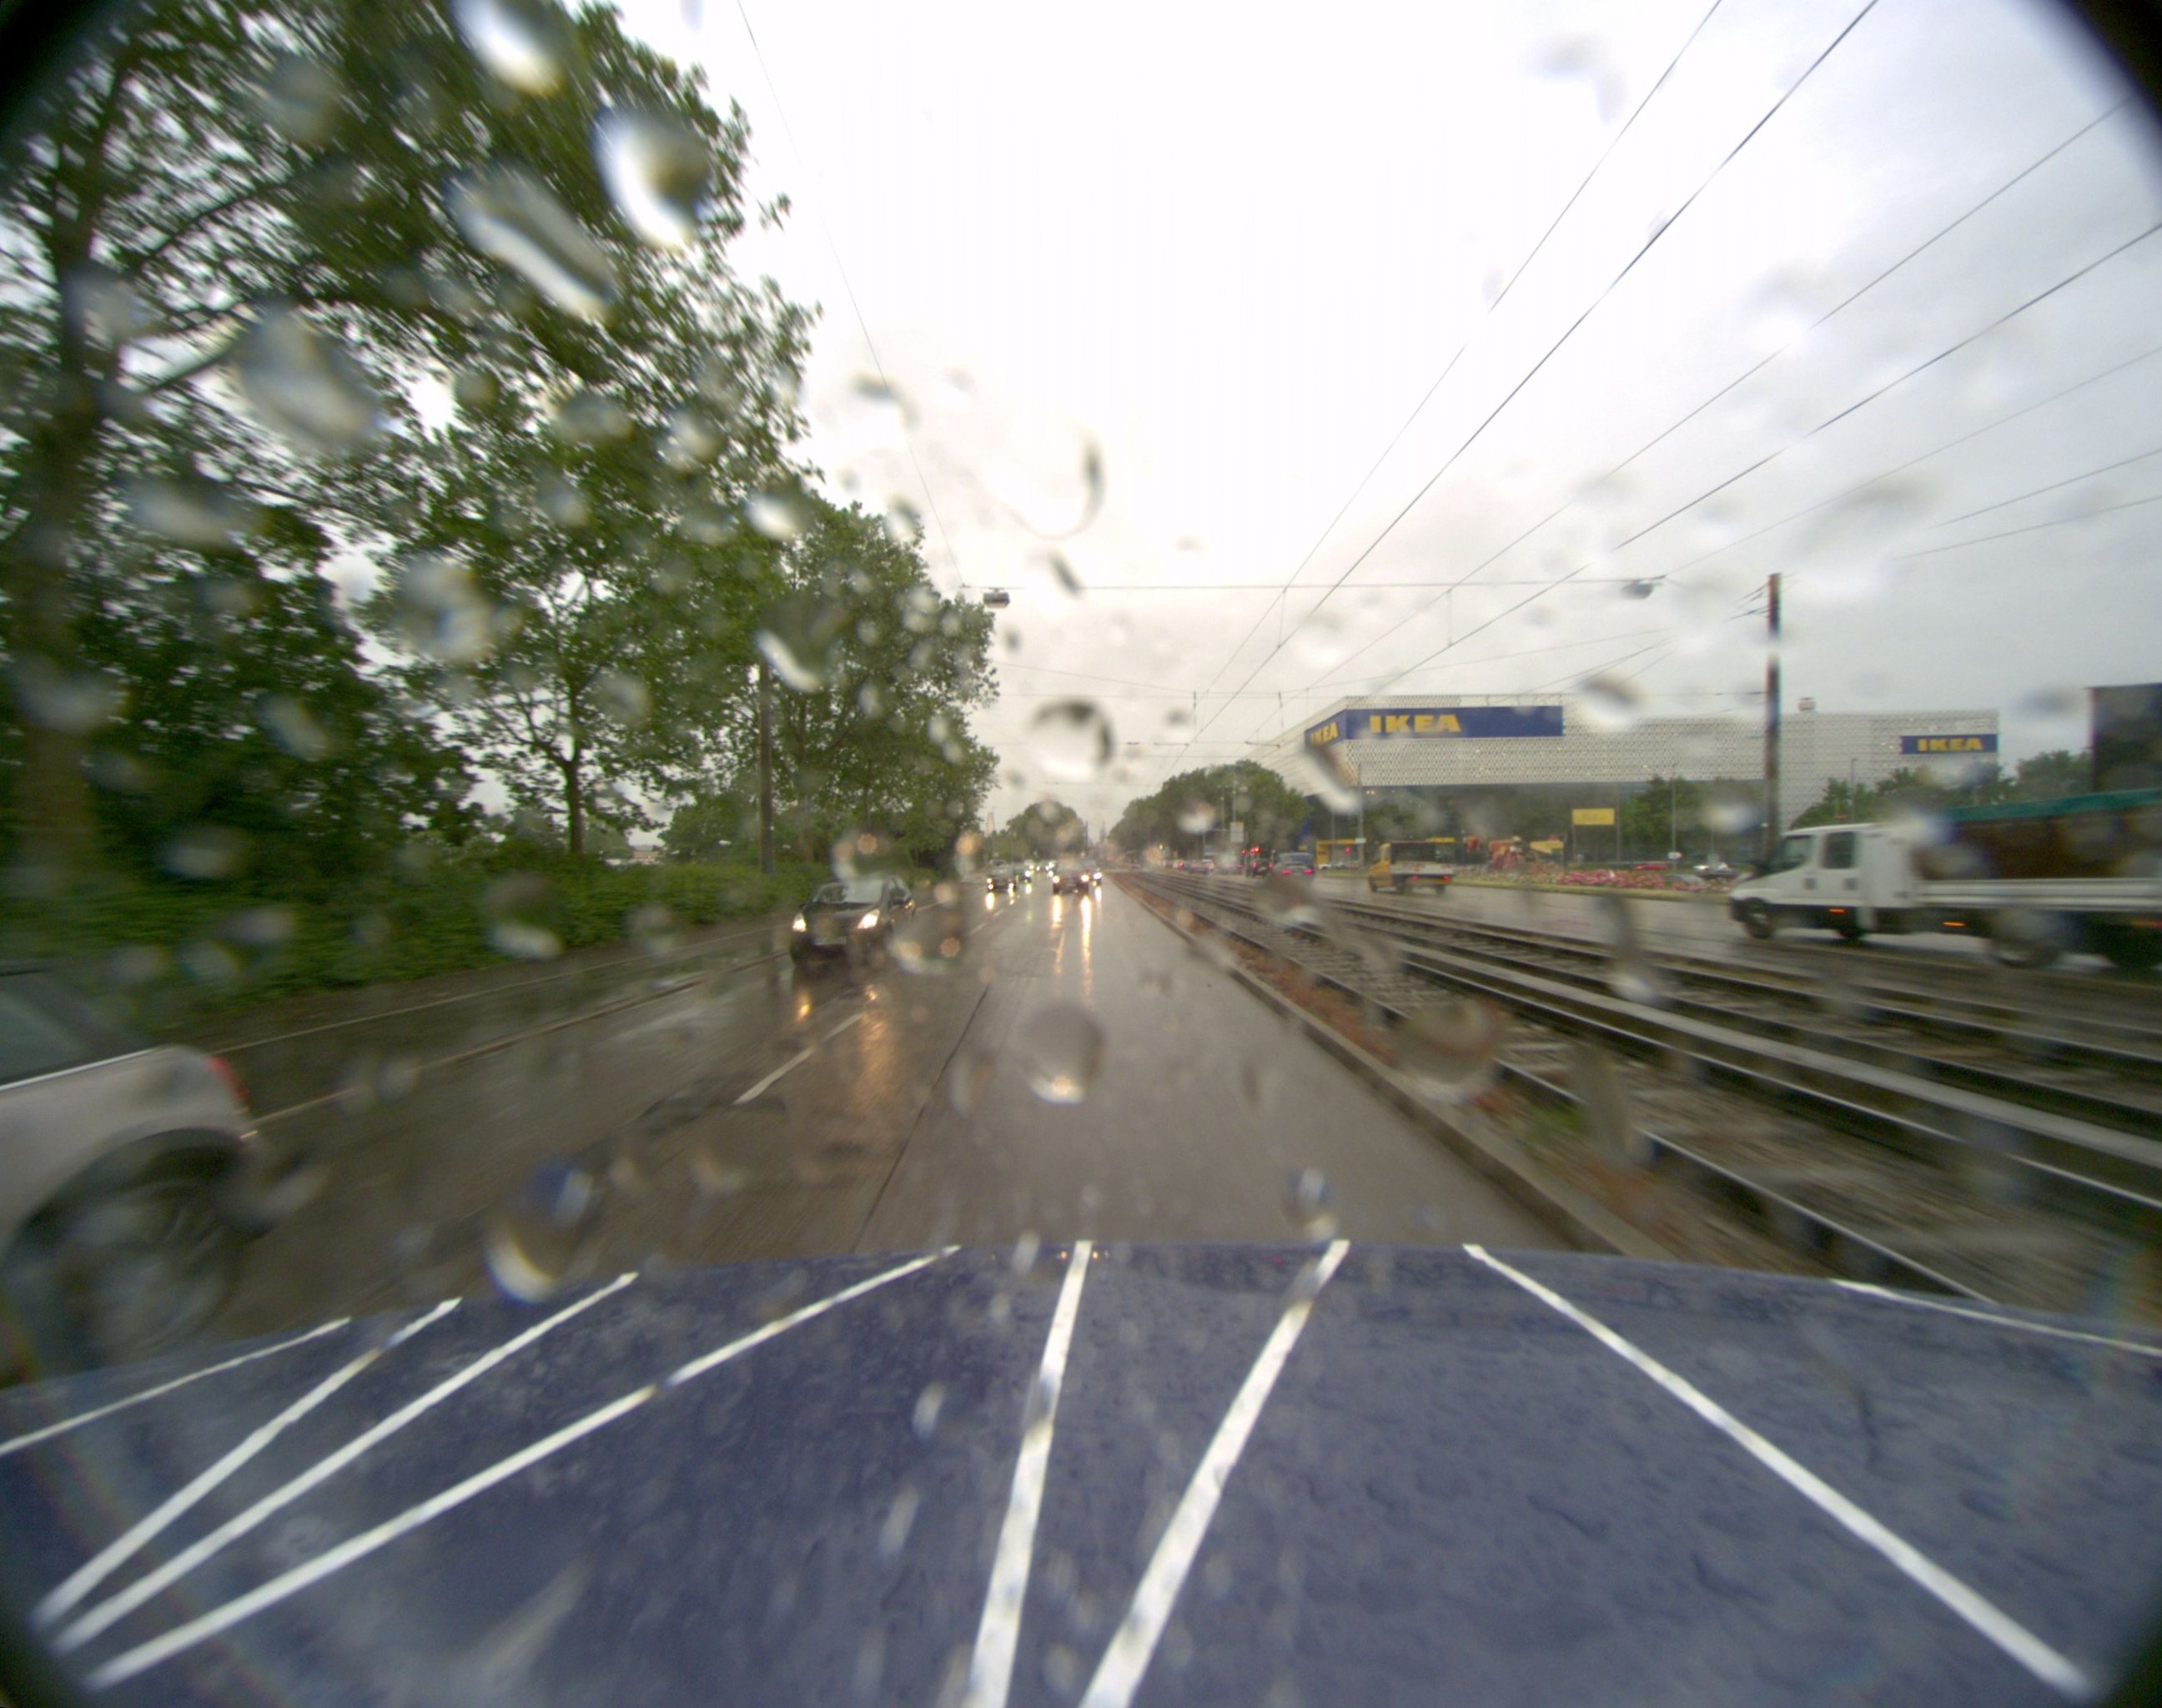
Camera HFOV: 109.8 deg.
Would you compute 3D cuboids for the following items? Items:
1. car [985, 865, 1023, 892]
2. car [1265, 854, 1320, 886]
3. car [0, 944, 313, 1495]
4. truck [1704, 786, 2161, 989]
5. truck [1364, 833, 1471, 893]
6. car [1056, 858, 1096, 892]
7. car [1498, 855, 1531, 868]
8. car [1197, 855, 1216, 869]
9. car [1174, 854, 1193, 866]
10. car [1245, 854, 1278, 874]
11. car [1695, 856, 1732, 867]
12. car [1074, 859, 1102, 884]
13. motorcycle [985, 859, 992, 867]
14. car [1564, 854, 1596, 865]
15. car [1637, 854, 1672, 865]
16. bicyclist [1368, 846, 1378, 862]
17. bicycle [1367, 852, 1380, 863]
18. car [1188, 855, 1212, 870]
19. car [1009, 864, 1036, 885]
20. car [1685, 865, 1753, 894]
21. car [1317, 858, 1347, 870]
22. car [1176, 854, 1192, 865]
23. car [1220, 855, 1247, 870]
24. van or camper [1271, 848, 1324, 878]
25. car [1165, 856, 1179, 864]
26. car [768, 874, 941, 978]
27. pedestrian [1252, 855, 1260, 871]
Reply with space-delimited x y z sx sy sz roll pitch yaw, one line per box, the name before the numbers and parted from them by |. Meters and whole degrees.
car | -4.479 1.413 44.768 1.715 1.476 4.043 -3 -1 0
car | 11.580 0.846 41.905 1.823 1.613 4.536 -2 0 1
car | -3.894 1.145 0.987 1.796 1.406 3.853 -4 1 -1
truck | 14.374 0.385 12.535 2.441 2.443 7.219 0 0 2
truck | 14.958 0.364 34.296 2.232 2.447 6.066 1 0 1
car | -0.280 1.042 38.787 1.876 1.573 4.043 -3 -1 -1
car | 66.039 1.167 115.766 4.010 1.664 1.682 -3 1 3
car | 17.513 1.135 106.372 1.998 1.823 4.693 -1 1 2
car | 13.652 0.742 101.220 1.998 1.448 4.671 1 1 1
car | 15.714 0.853 66.324 1.862 1.608 4.908 1 1 2
car | 96.222 1.088 115.596 4.163 1.399 1.709 -3 1 3
car | 0.467 1.146 50.243 1.715 1.515 4.043 -3 -1 0
motorcycle | -15.573 1.503 128.176 0.633 1.211 1.449 0 0 12
car | 75.755 0.829 115.409 3.821 1.399 1.602 -3 1 3
car | 87.375 0.861 115.780 3.982 1.399 1.602 -3 1 3
bicyclist | 29.482 0.020 76.713 0.673 1.580 0.792 -4 1 1
bicycle | 29.503 0.329 76.690 0.670 1.010 1.556 -4 0 0
car | 12.689 0.851 81.047 1.863 1.485 4.689 0 1 0
car | -4.649 1.603 60.956 1.715 1.515 4.043 -3 -1 0
car | 34.339 1.358 40.950 1.265 1.368 2.693 -4 0 -2
car | 38.691 1.611 117.336 4.015 1.609 1.760 -3 1 3
car | 15.969 0.803 117.772 1.877 1.564 4.329 -3 -1 2
car | 15.920 0.869 79.689 1.968 1.507 4.554 0 1 1
van or camper | 15.337 0.609 54.150 2.310 2.002 5.686 -1 0 2
car | 15.757 1.075 131.954 1.927 1.415 5.084 2 -1 2
car | -3.837 1.155 13.657 1.776 1.453 4.093 -3 -1 1
pedestrian | 25.751 1.385 111.840 0.920 2.232 0.990 -4 2 14
